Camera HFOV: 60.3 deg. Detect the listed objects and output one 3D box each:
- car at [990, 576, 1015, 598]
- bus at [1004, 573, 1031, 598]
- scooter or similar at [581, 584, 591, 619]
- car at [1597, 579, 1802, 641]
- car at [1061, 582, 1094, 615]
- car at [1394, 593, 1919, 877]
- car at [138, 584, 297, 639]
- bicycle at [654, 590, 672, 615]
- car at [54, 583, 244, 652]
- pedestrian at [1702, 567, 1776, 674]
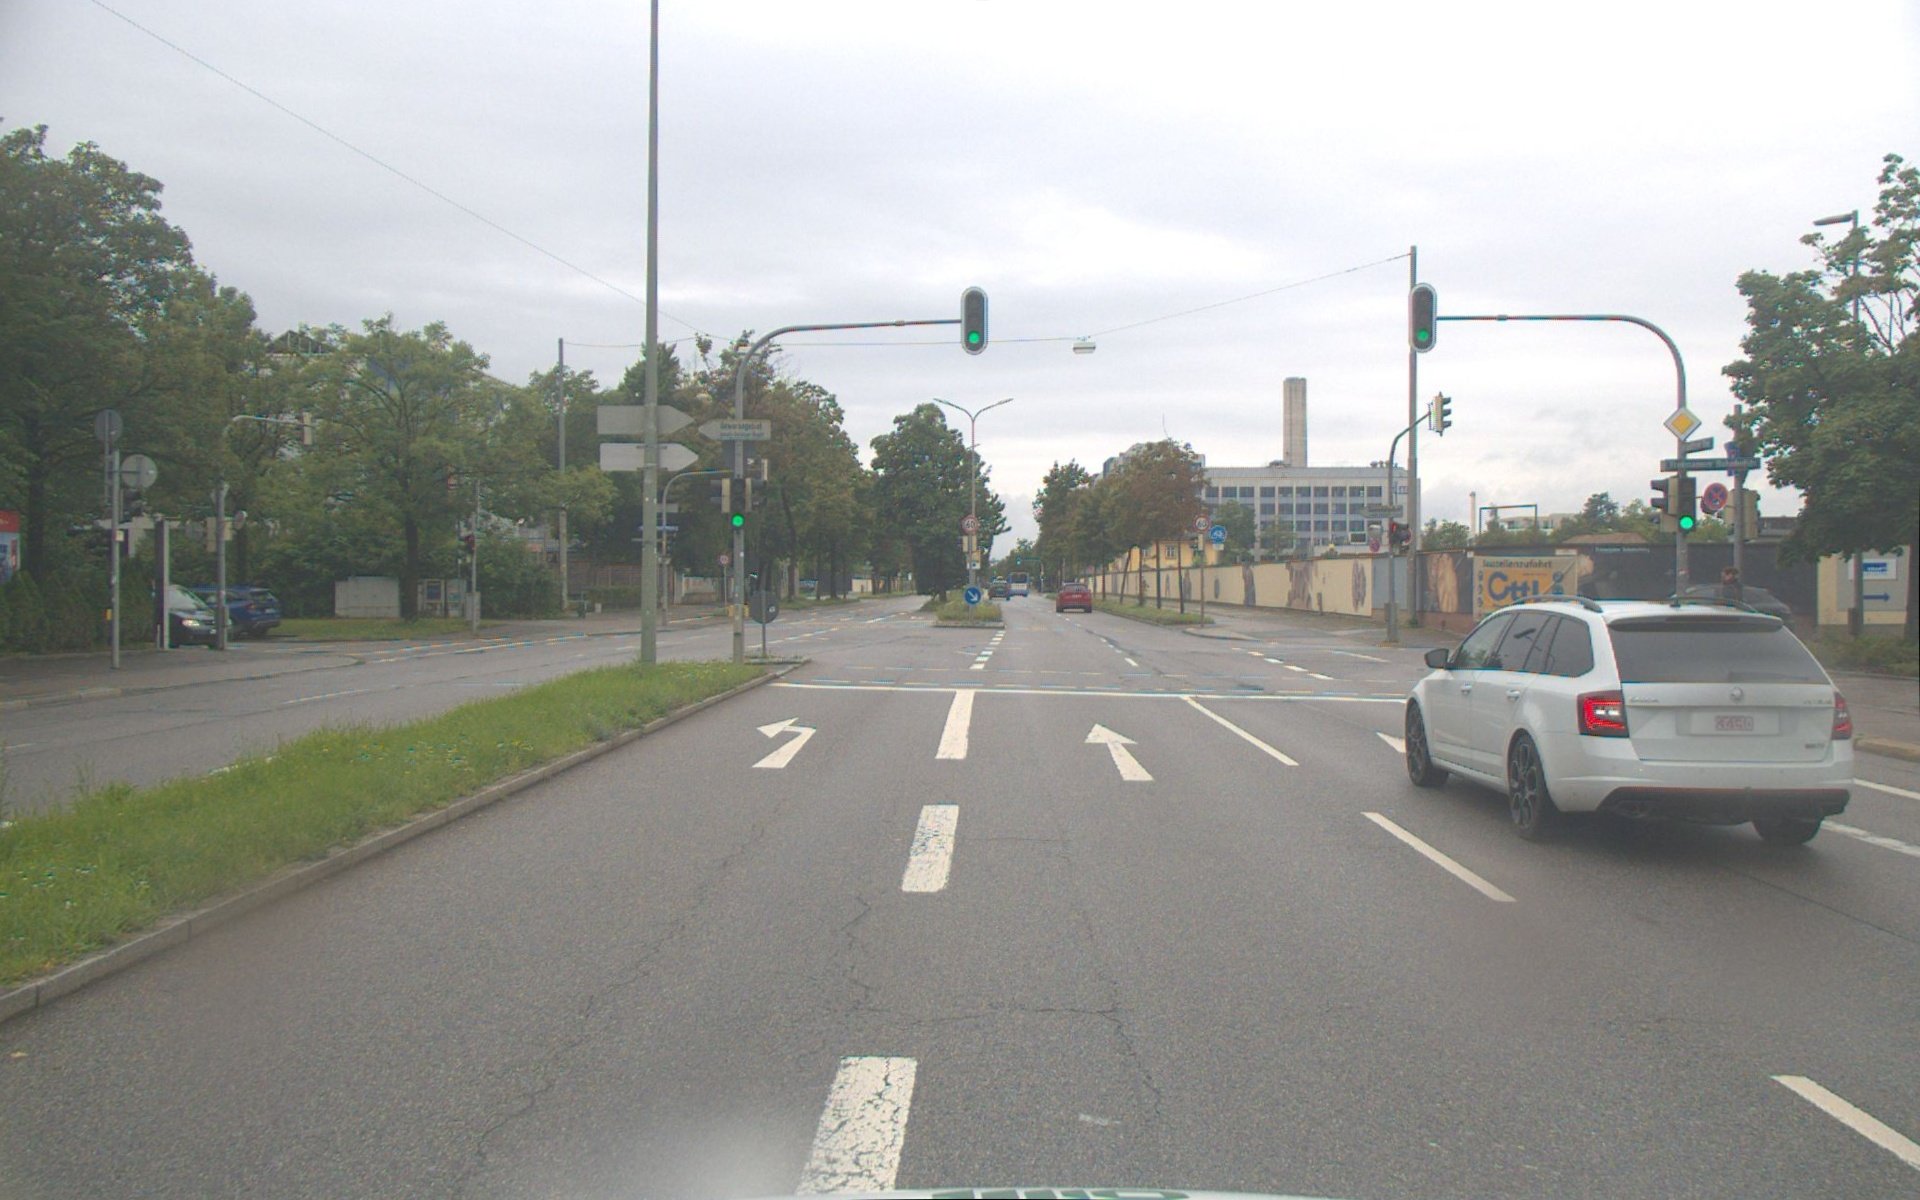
[{"bbox_3d":[3.738,-1.123,146.727,2.041,1.898,4.386,1,0,0],"label":"car"},{"bbox_3d":[7.597,-1.865,219.604,3.155,3.181,10.344,1,0,0],"label":"bus"},{"bbox_3d":[-15.759,0.050,69.683,0.364,1.449,1.400,1,0,-14],"label":"scooter or similar"},{"bbox_3d":[18.152,0.238,40.743,4.161,1.453,2.001,-1,0,3],"label":"car"},{"bbox_3d":[6.333,-0.098,89.482,1.454,1.745,3.551,1,0,0],"label":"car"},{"bbox_3d":[4.403,0.722,11.187,1.839,1.493,4.503,1,0,2],"label":"car"},{"bbox_3d":[-23.689,0.367,52.844,4.177,1.602,2.002,-1,2,10],"label":"car"},{"bbox_3d":[-15.986,0.146,89.023,0.570,1.318,2.454,1,0,-1],"label":"bicycle"},{"bbox_3d":[-21.533,0.477,43.899,4.679,1.753,1.999,-1,-1,24],"label":"car"},{"bbox_3d":[12.420,0.318,26.382,0.786,1.643,0.687,-2,0,0],"label":"pedestrian"}]
